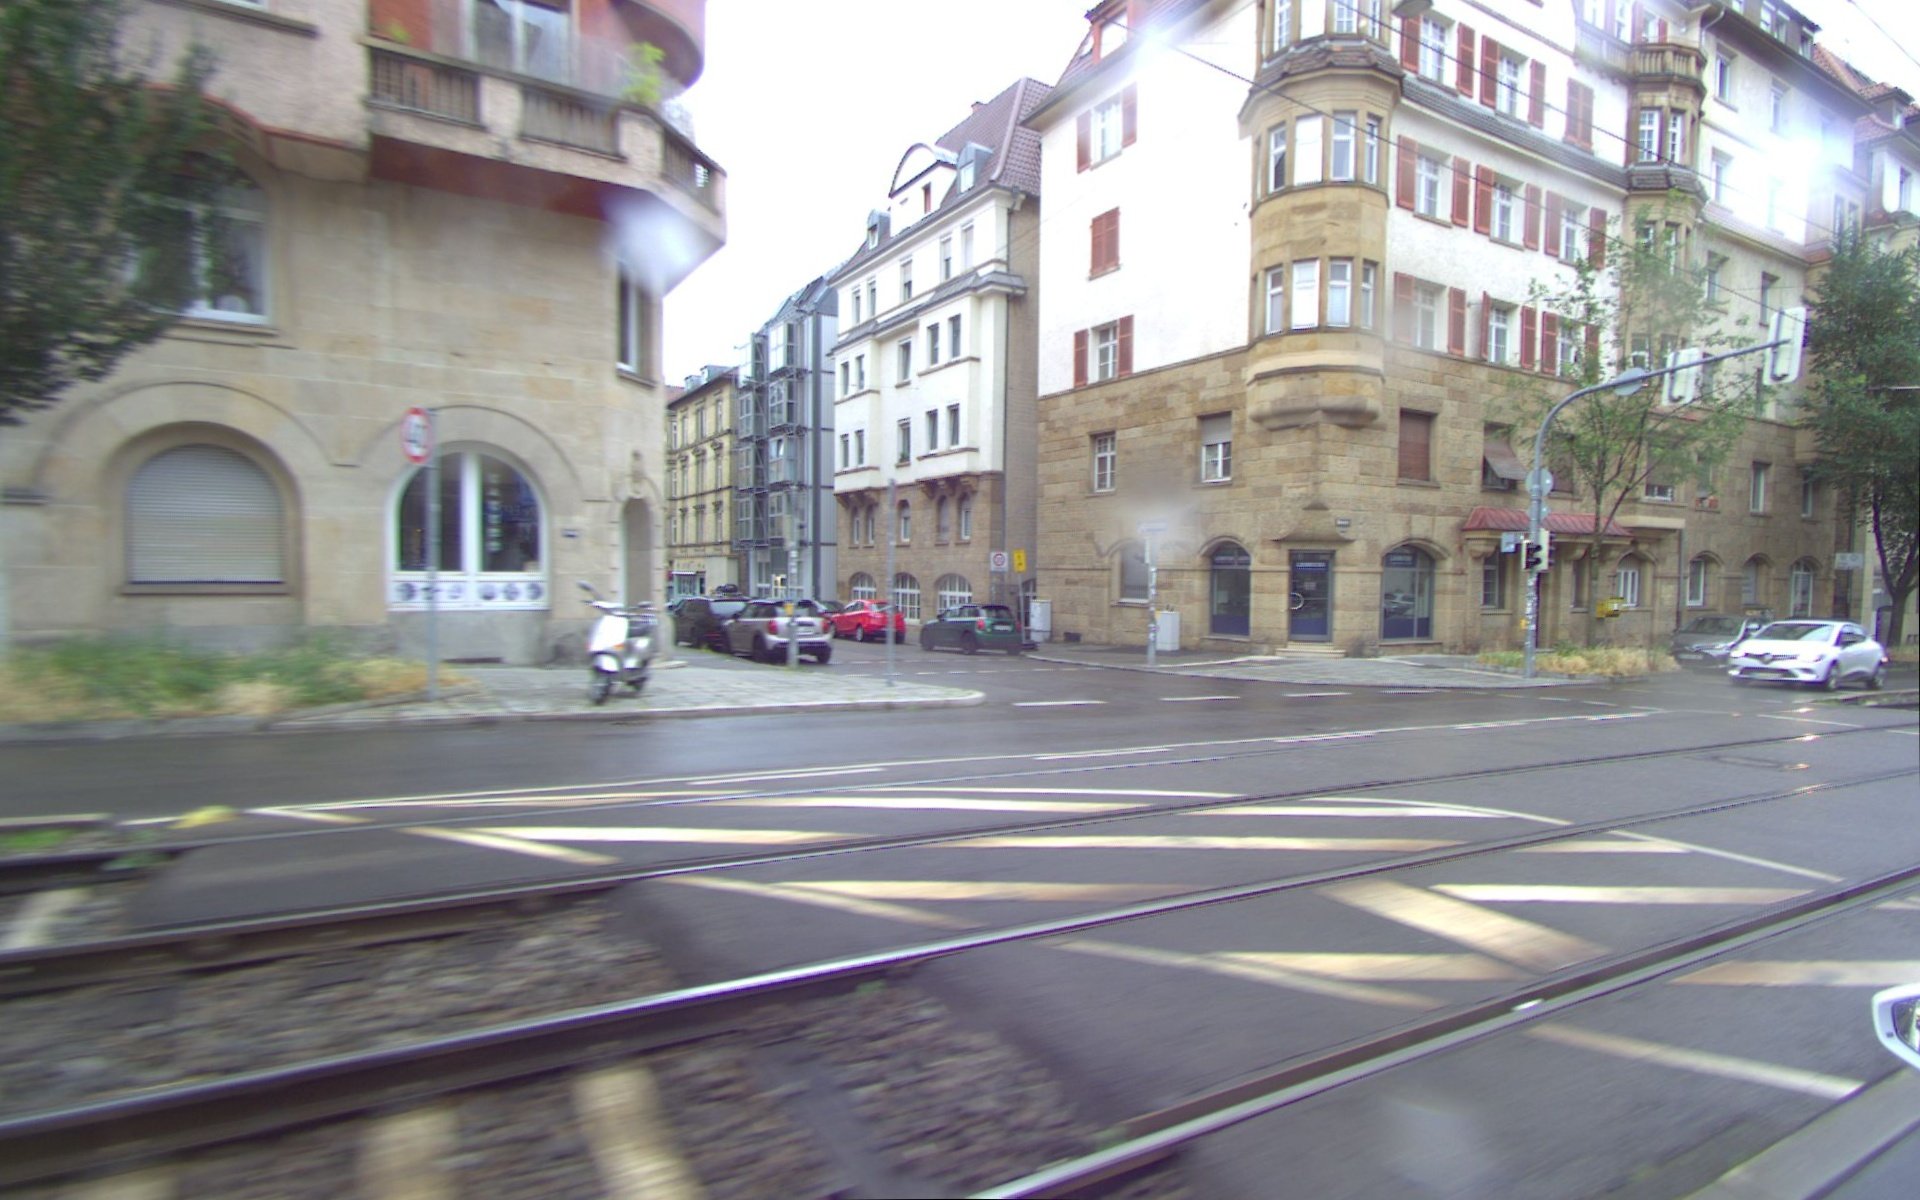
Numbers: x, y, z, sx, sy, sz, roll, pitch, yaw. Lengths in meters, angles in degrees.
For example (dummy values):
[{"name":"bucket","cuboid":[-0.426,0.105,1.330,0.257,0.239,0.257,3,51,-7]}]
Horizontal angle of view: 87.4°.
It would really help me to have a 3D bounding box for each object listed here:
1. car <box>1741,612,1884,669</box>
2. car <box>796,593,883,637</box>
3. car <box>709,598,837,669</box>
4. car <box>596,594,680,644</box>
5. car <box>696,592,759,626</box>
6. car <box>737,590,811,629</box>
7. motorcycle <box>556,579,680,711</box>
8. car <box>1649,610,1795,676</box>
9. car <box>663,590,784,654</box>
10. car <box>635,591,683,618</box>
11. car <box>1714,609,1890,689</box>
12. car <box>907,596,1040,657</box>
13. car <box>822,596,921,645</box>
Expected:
[{"name":"car","cuboid":[24.635,1.165,28.966,4.924,1.479,1.771,2,0,-33]},{"name":"car","cuboid":[-4.800,0.575,39.599,1.977,1.595,3.968,2,0,-30]},{"name":"car","cuboid":[-4.505,0.741,23.734,1.727,1.486,3.968,2,0,-30]},{"name":"car","cuboid":[-11.174,0.619,34.676,1.977,1.595,3.968,2,0,-30]},{"name":"car","cuboid":[-11.628,0.422,50.113,1.977,1.595,3.968,2,0,-30]},{"name":"car","cuboid":[-8.249,0.382,44.264,1.977,1.595,3.968,2,0,-30]},{"name":"motorcycle","cuboid":[-3.920,0.489,11.668,0.752,1.393,1.785,2,0,1]},{"name":"car","cuboid":[19.805,1.106,26.075,4.130,1.549,1.680,2,0,-33]},{"name":"car","cuboid":[-6.596,0.575,27.721,1.979,1.595,3.962,2,0,-34]},{"name":"car","cuboid":[-18.762,0.270,62.462,1.977,1.595,3.968,2,0,-30]},{"name":"car","cuboid":[18.097,1.032,21.552,4.018,1.522,1.771,2,0,-33]},{"name":"car","cuboid":[0.319,0.740,29.211,1.979,1.595,3.963,2,0,-33]},{"name":"car","cuboid":[-3.206,0.693,35.684,1.977,1.595,3.968,2,0,-30]}]
